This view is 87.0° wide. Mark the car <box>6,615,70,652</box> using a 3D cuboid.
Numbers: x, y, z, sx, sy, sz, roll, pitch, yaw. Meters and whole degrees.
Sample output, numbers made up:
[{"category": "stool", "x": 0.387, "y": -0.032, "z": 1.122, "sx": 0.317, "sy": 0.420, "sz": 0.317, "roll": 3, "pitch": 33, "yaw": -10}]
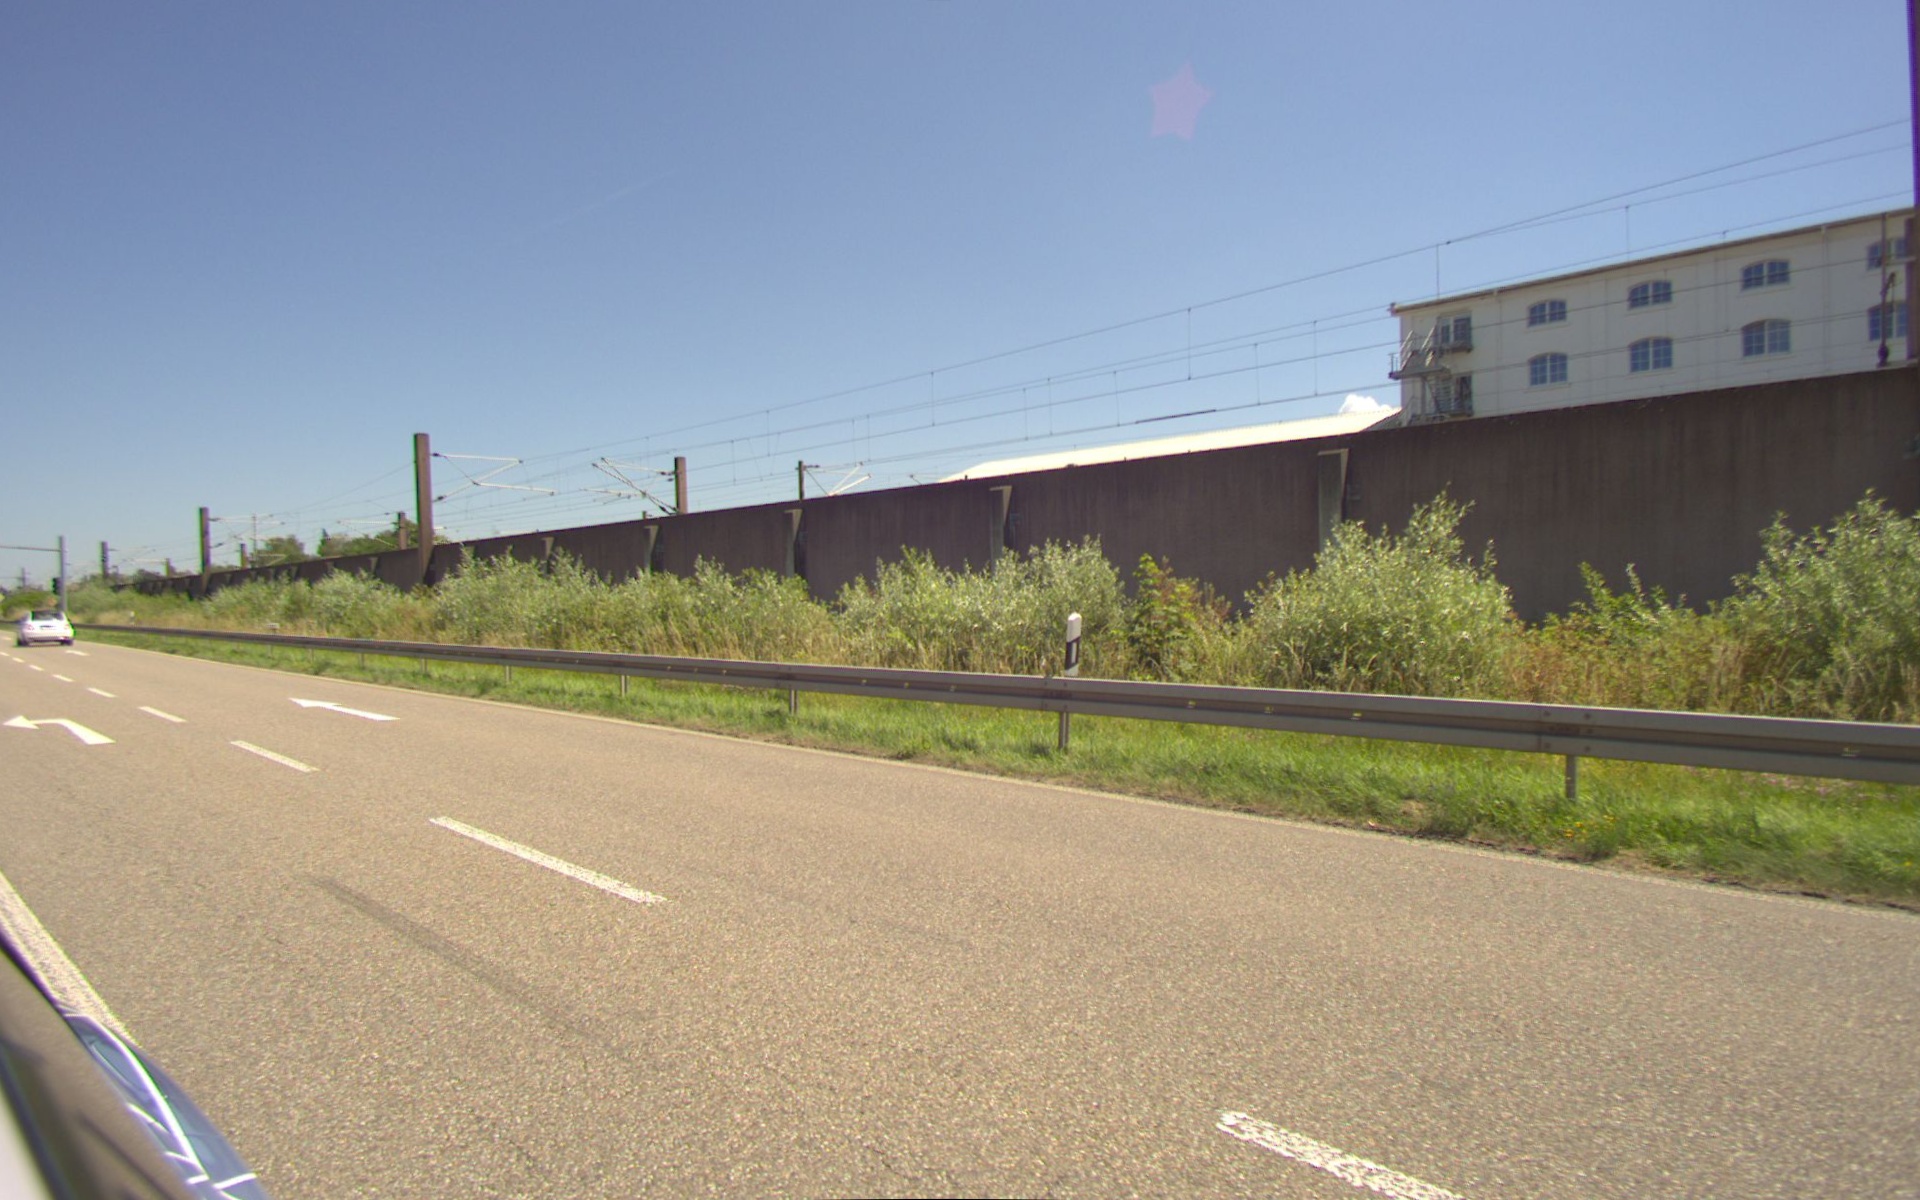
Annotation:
[{"category": "car", "x": -38.717, "y": 1.377, "z": 42.475, "sx": 3.772, "sy": 1.485, "sz": 1.579, "roll": -1, "pitch": 0, "yaw": 41}]
